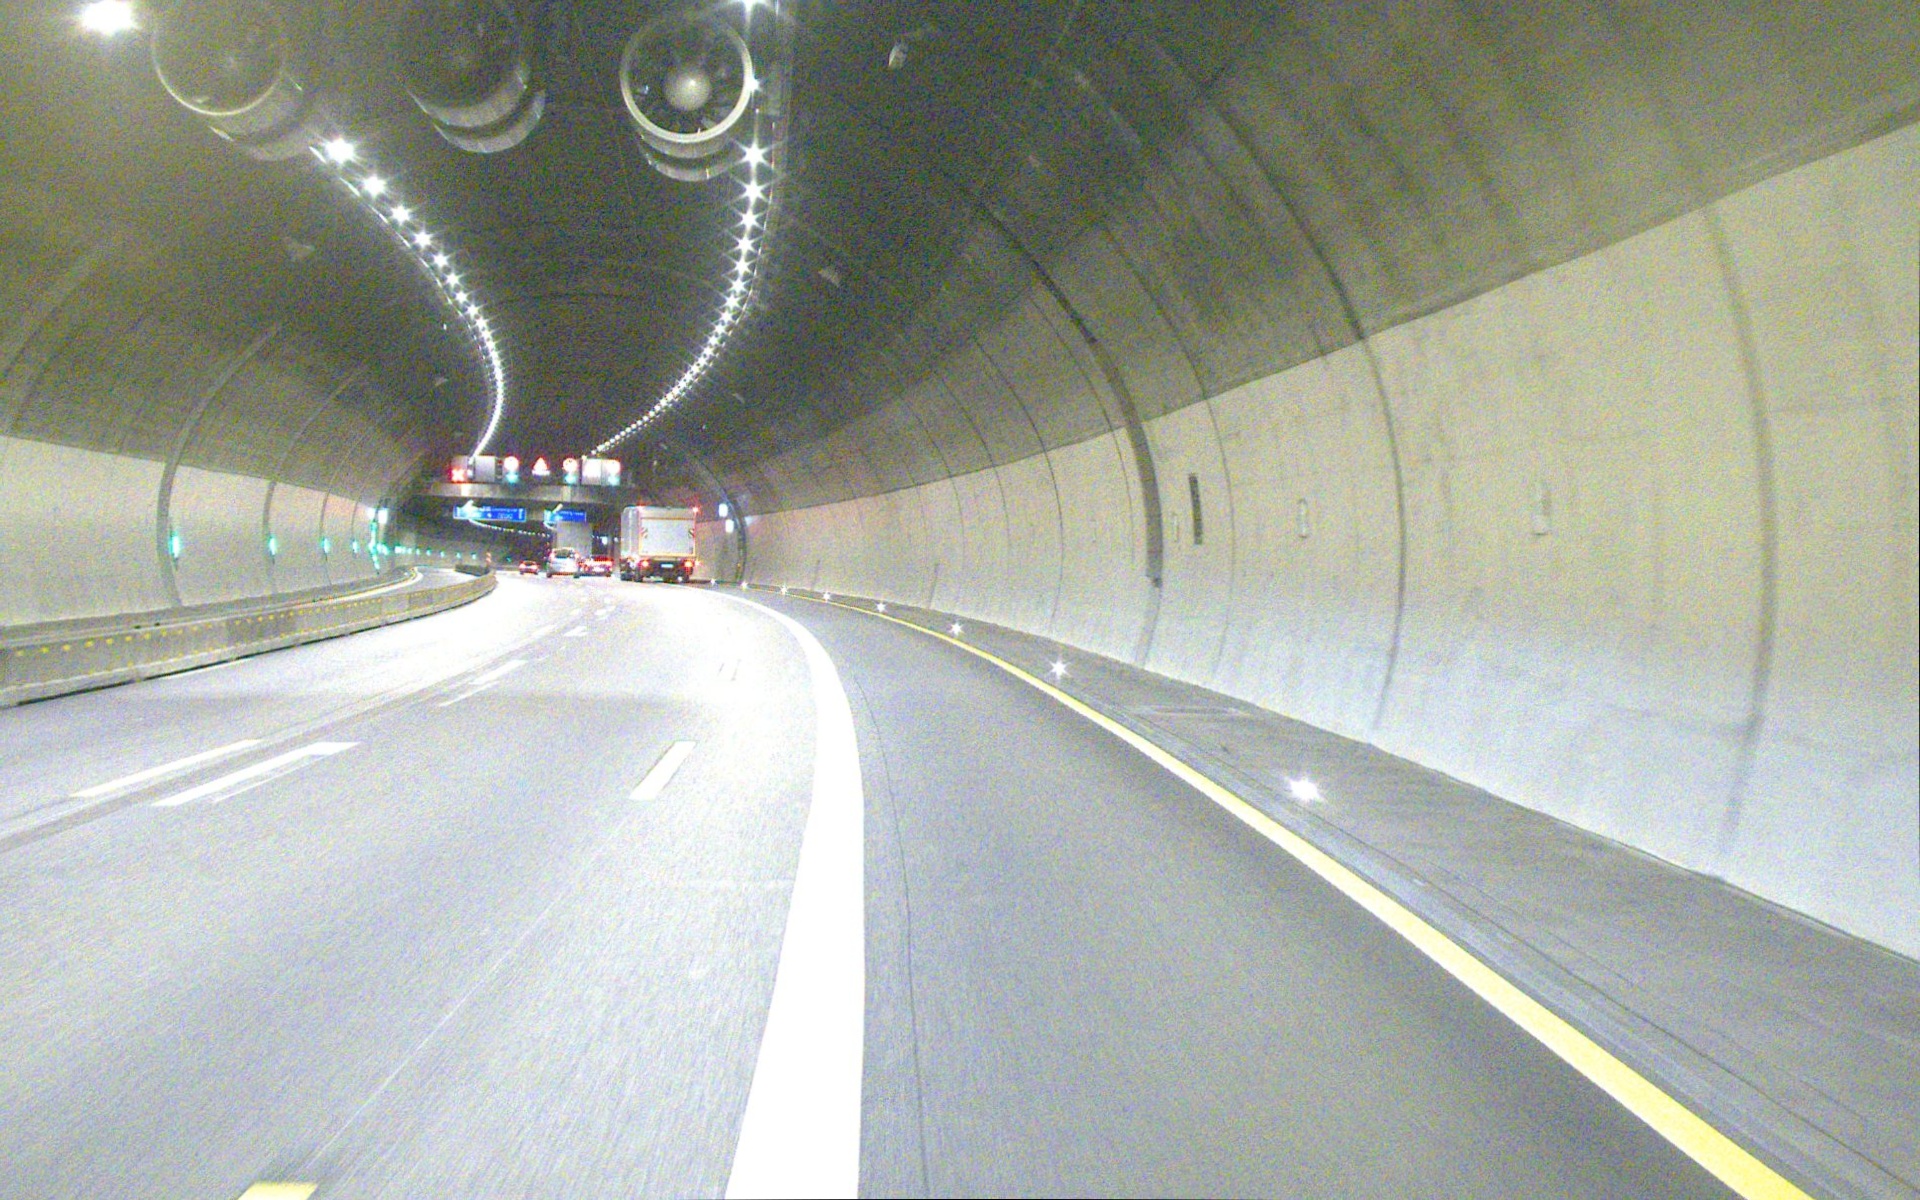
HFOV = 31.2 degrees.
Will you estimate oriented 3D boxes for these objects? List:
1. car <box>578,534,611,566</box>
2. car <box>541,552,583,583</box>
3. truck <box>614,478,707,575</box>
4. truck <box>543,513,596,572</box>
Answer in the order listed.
[{"bbox_3d":[-23.134,-3.152,217.291,1.993,2.007,4.001,0,1,-7],"label":"car"},{"bbox_3d":[-21.281,-1.756,183.781,1.993,1.576,4.001,1,1,-10],"label":"car"},{"bbox_3d":[-13.902,-3.393,158.738,3.473,4.301,10.955,0,1,-9],"label":"truck"},{"bbox_3d":[-29.260,-4.279,257.402,3.473,4.301,10.955,0,1,-9],"label":"truck"}]
